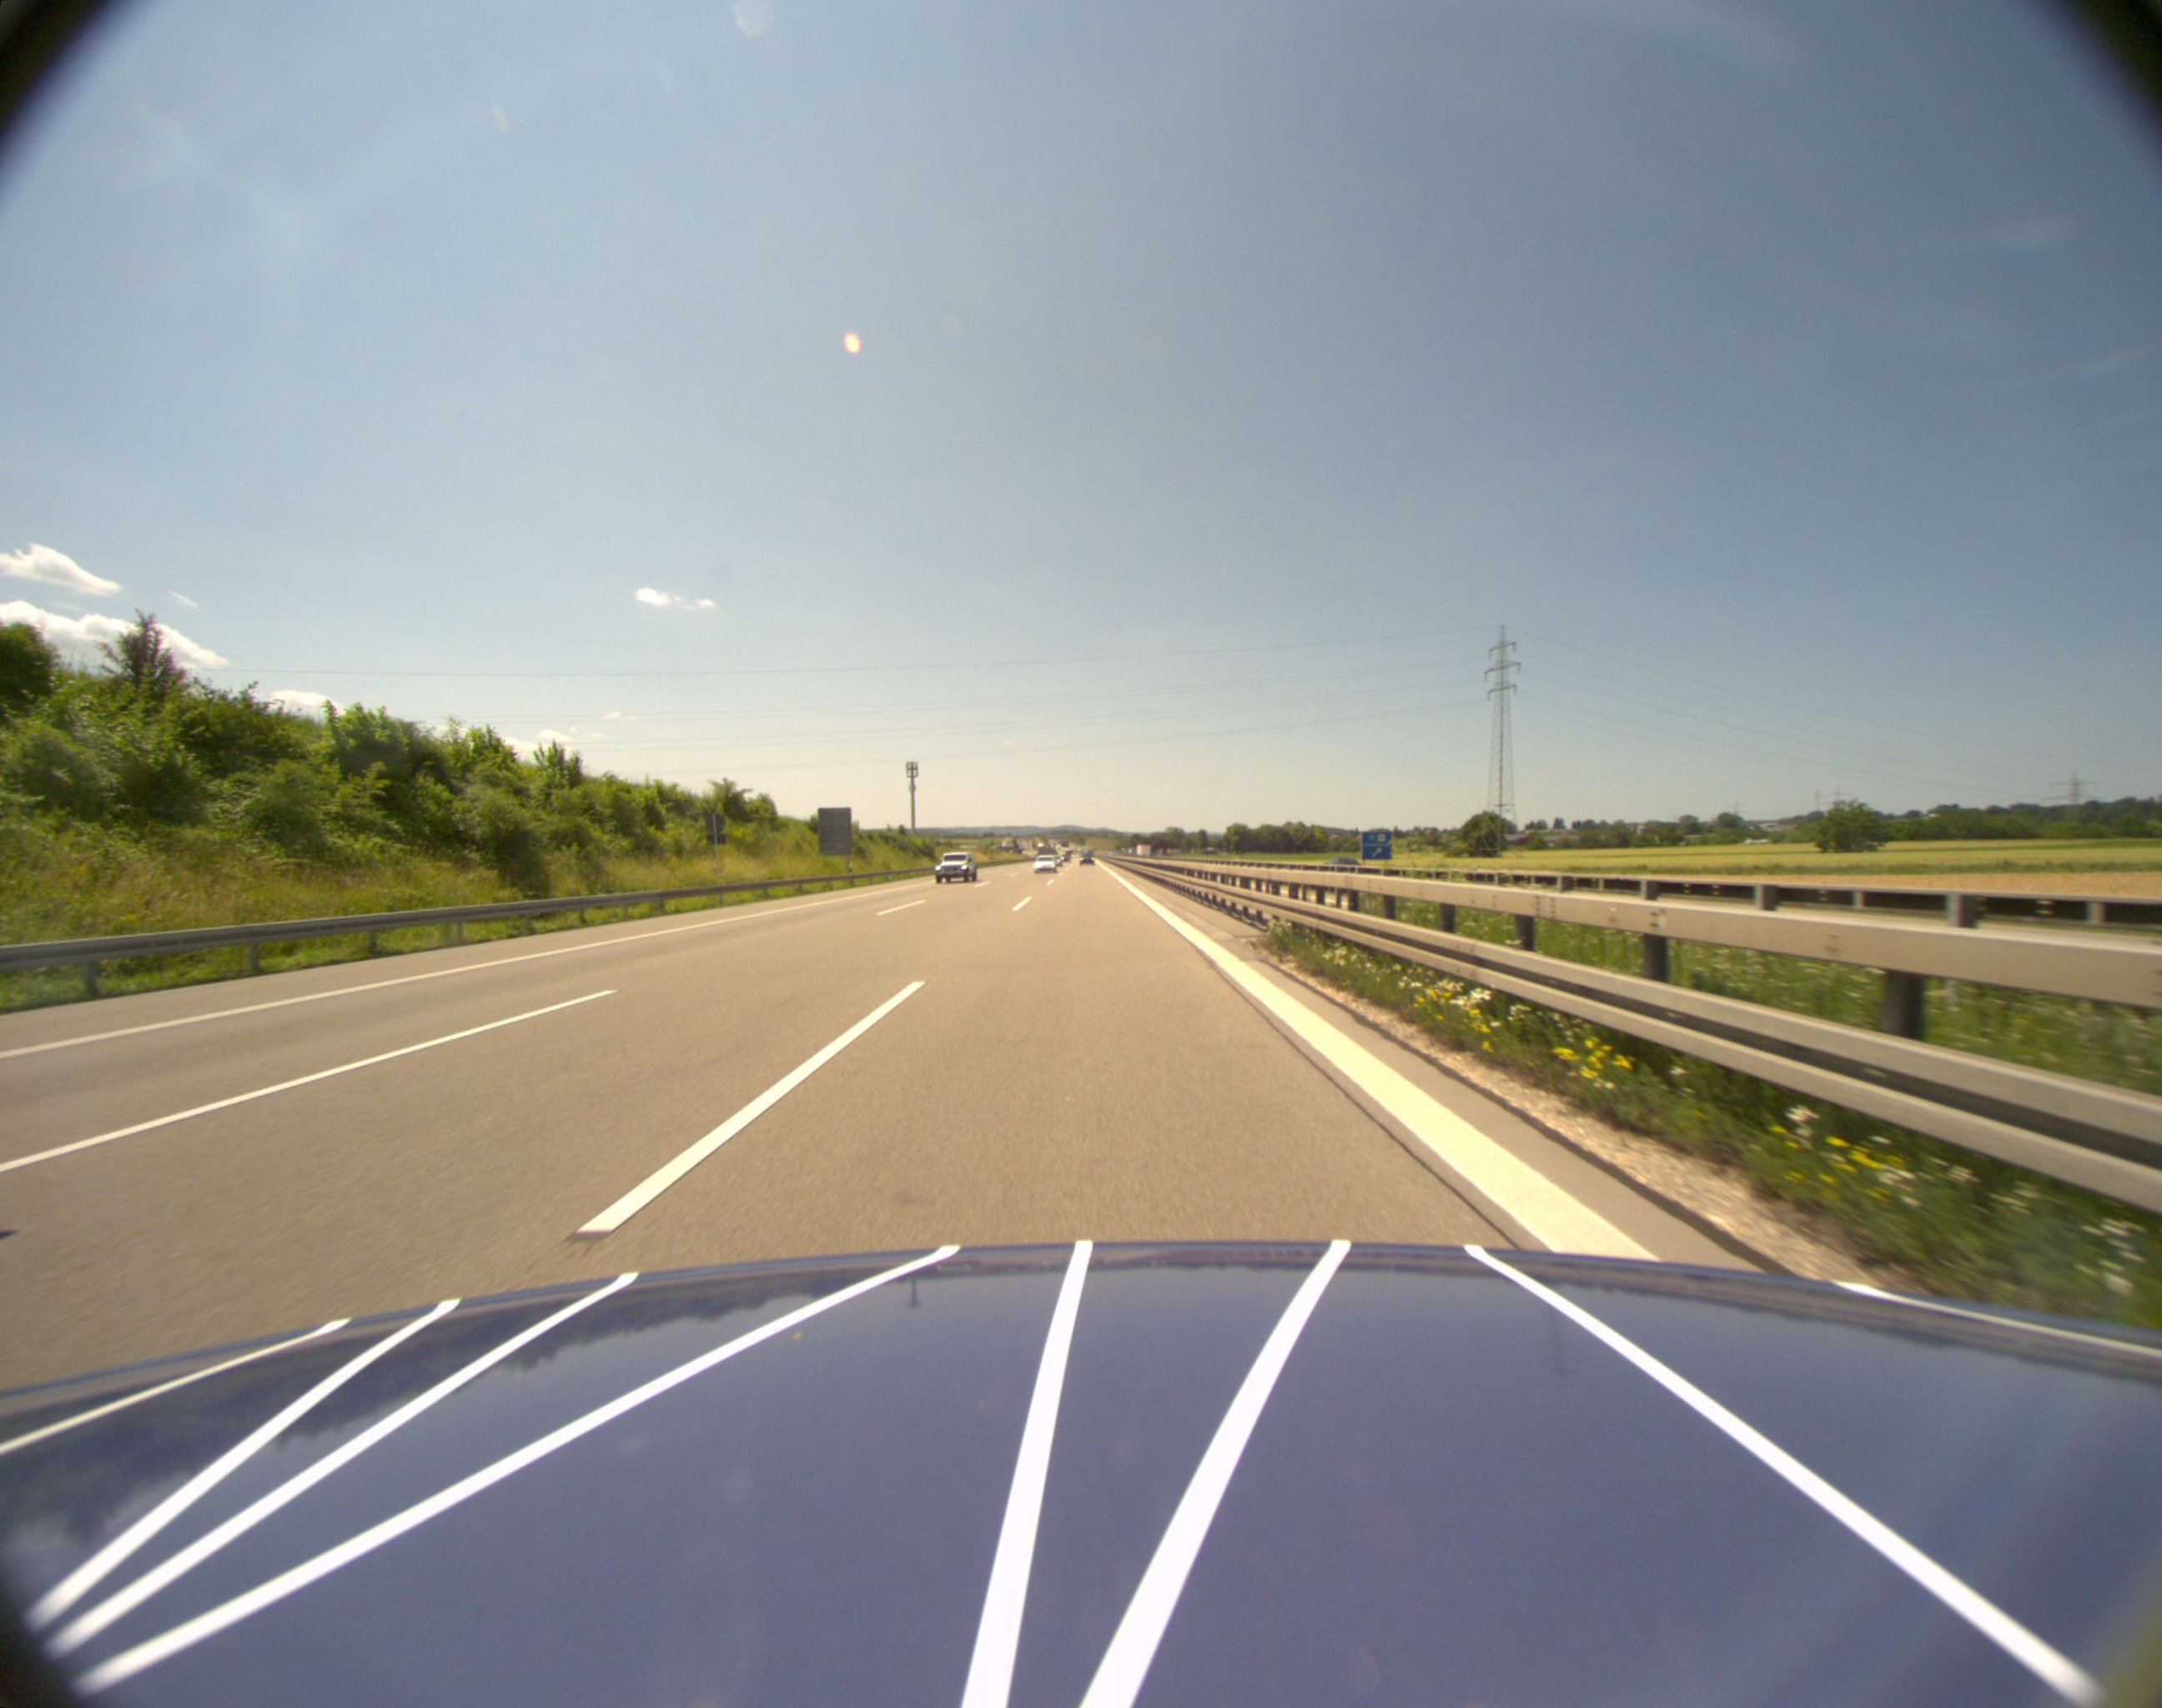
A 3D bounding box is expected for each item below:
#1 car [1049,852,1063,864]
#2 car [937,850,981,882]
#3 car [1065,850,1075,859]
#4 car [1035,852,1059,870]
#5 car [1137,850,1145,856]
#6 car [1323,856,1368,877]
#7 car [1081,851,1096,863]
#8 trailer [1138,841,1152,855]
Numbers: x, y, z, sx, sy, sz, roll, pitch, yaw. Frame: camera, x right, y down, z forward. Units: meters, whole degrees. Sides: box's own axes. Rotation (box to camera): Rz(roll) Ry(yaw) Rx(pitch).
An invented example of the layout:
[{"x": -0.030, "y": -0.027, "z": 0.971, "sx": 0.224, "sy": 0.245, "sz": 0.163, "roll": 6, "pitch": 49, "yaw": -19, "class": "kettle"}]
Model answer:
[{"x": -3.130, "y": 0.433, "z": 94.685, "sx": 1.634, "sy": 1.381, "sz": 3.999, "roll": -2, "pitch": 1, "yaw": -1, "class": "car"}, {"x": -7.575, "y": 0.704, "z": 47.570, "sx": 2.040, "sy": 1.794, "sz": 4.250, "roll": -2, "pitch": 1, "yaw": 0, "class": "car"}, {"x": -2.091, "y": 0.146, "z": 142.627, "sx": 1.751, "sy": 1.559, "sz": 3.999, "roll": -2, "pitch": 1, "yaw": -1, "class": "car"}, {"x": -2.824, "y": 0.564, "z": 64.400, "sx": 1.780, "sy": 1.425, "sz": 4.690, "roll": -2, "pitch": 1, "yaw": 0, "class": "car"}, {"x": 15.358, "y": -0.304, "z": 194.348, "sx": 1.486, "sy": 1.417, "sz": 3.609, "roll": 1, "pitch": 0, "yaw": -1, "class": "car"}, {"x": 17.268, "y": 0.792, "z": 49.828, "sx": 1.577, "sy": 1.299, "sz": 4.041, "roll": 0, "pitch": 0, "yaw": 1, "class": "car"}, {"x": 0.899, "y": 0.379, "z": 96.835, "sx": 1.751, "sy": 1.439, "sz": 3.999, "roll": -2, "pitch": 0, "yaw": -1, "class": "car"}, {"x": 18.511, "y": -1.737, "z": 219.639, "sx": 2.840, "sy": 4.023, "sz": 11.664, "roll": -2, "pitch": 1, "yaw": 0, "class": "trailer"}]
